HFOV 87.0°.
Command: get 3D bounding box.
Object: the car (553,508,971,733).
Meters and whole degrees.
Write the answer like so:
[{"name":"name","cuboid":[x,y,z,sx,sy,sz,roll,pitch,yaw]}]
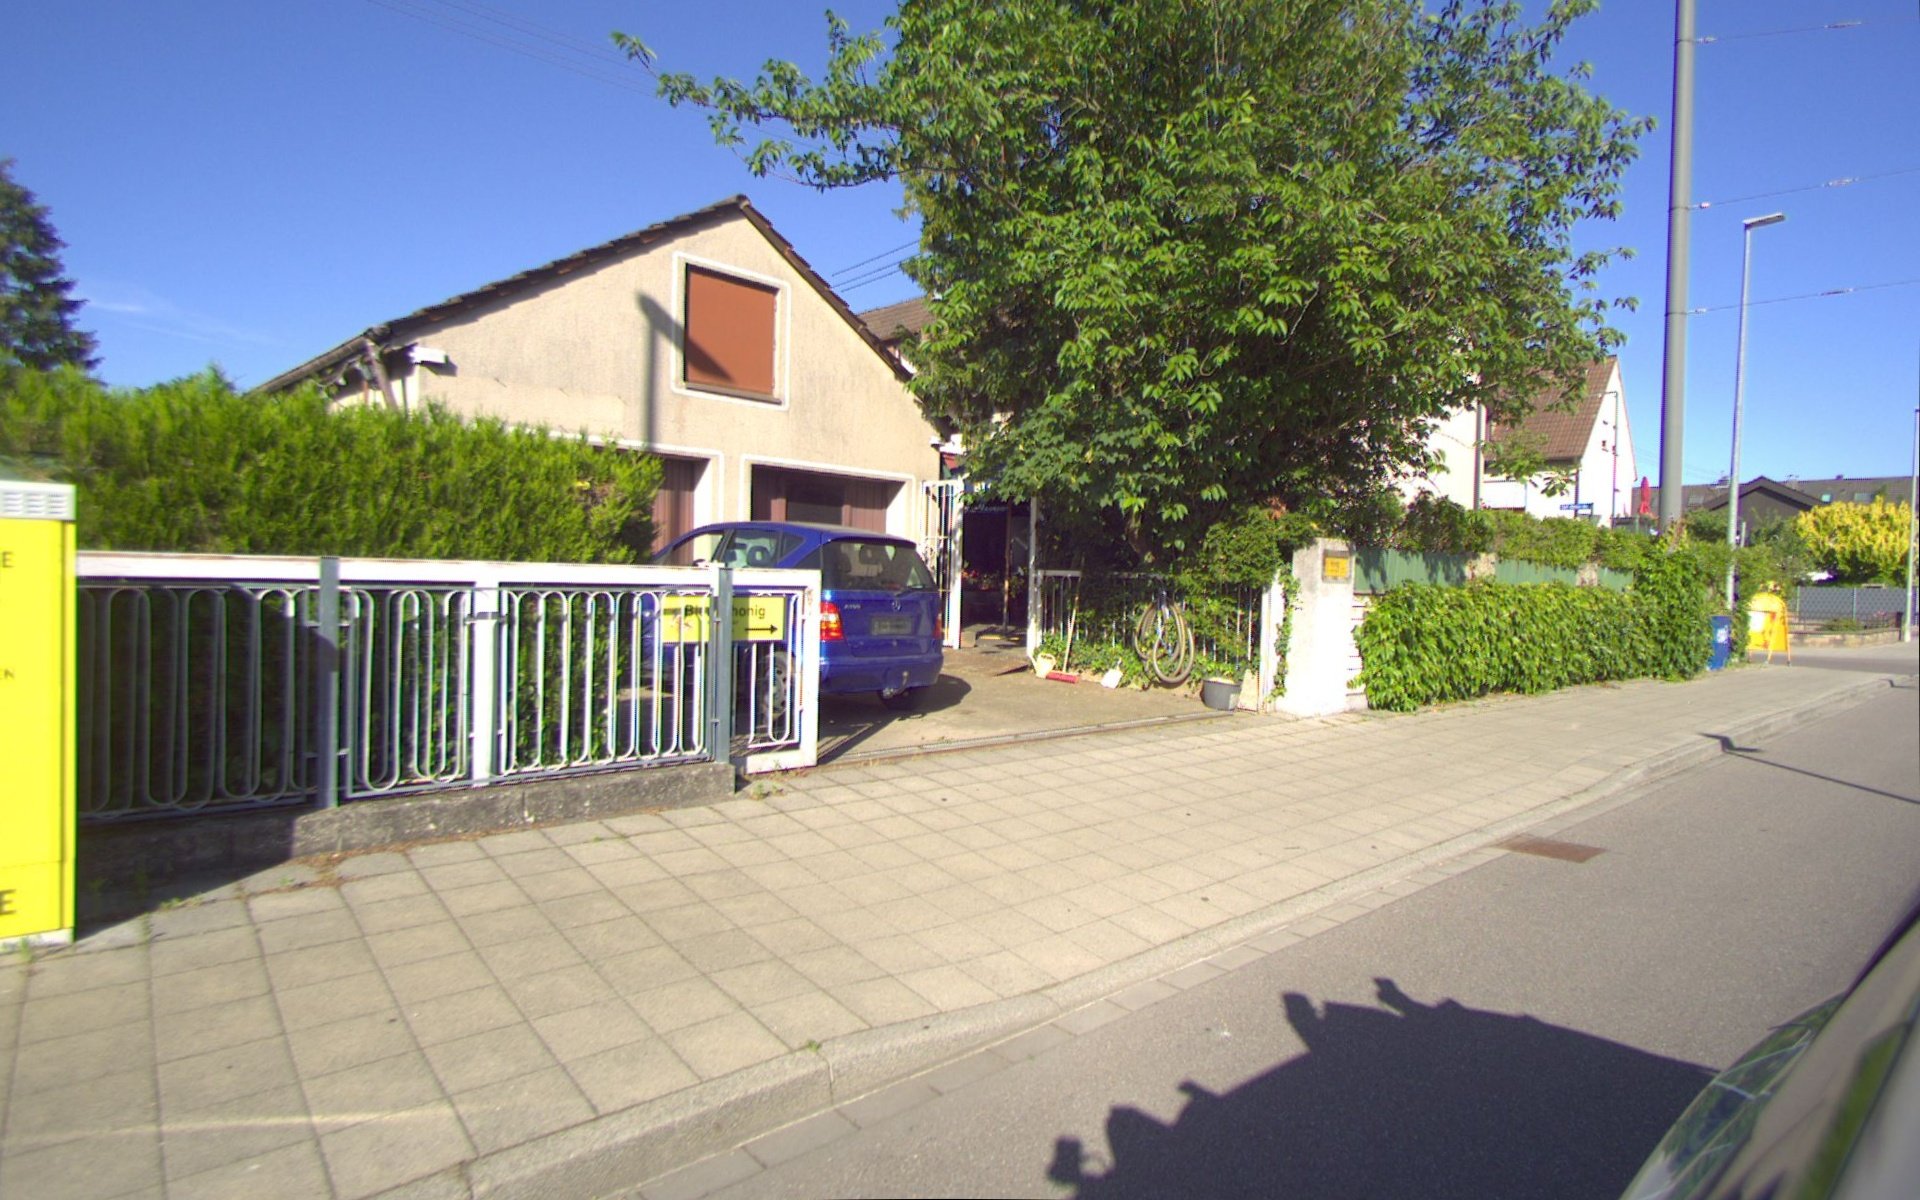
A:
[{"name":"car","cuboid":[-1.911,0.026,9.143,3.758,1.588,1.726,5,4,40]}]
